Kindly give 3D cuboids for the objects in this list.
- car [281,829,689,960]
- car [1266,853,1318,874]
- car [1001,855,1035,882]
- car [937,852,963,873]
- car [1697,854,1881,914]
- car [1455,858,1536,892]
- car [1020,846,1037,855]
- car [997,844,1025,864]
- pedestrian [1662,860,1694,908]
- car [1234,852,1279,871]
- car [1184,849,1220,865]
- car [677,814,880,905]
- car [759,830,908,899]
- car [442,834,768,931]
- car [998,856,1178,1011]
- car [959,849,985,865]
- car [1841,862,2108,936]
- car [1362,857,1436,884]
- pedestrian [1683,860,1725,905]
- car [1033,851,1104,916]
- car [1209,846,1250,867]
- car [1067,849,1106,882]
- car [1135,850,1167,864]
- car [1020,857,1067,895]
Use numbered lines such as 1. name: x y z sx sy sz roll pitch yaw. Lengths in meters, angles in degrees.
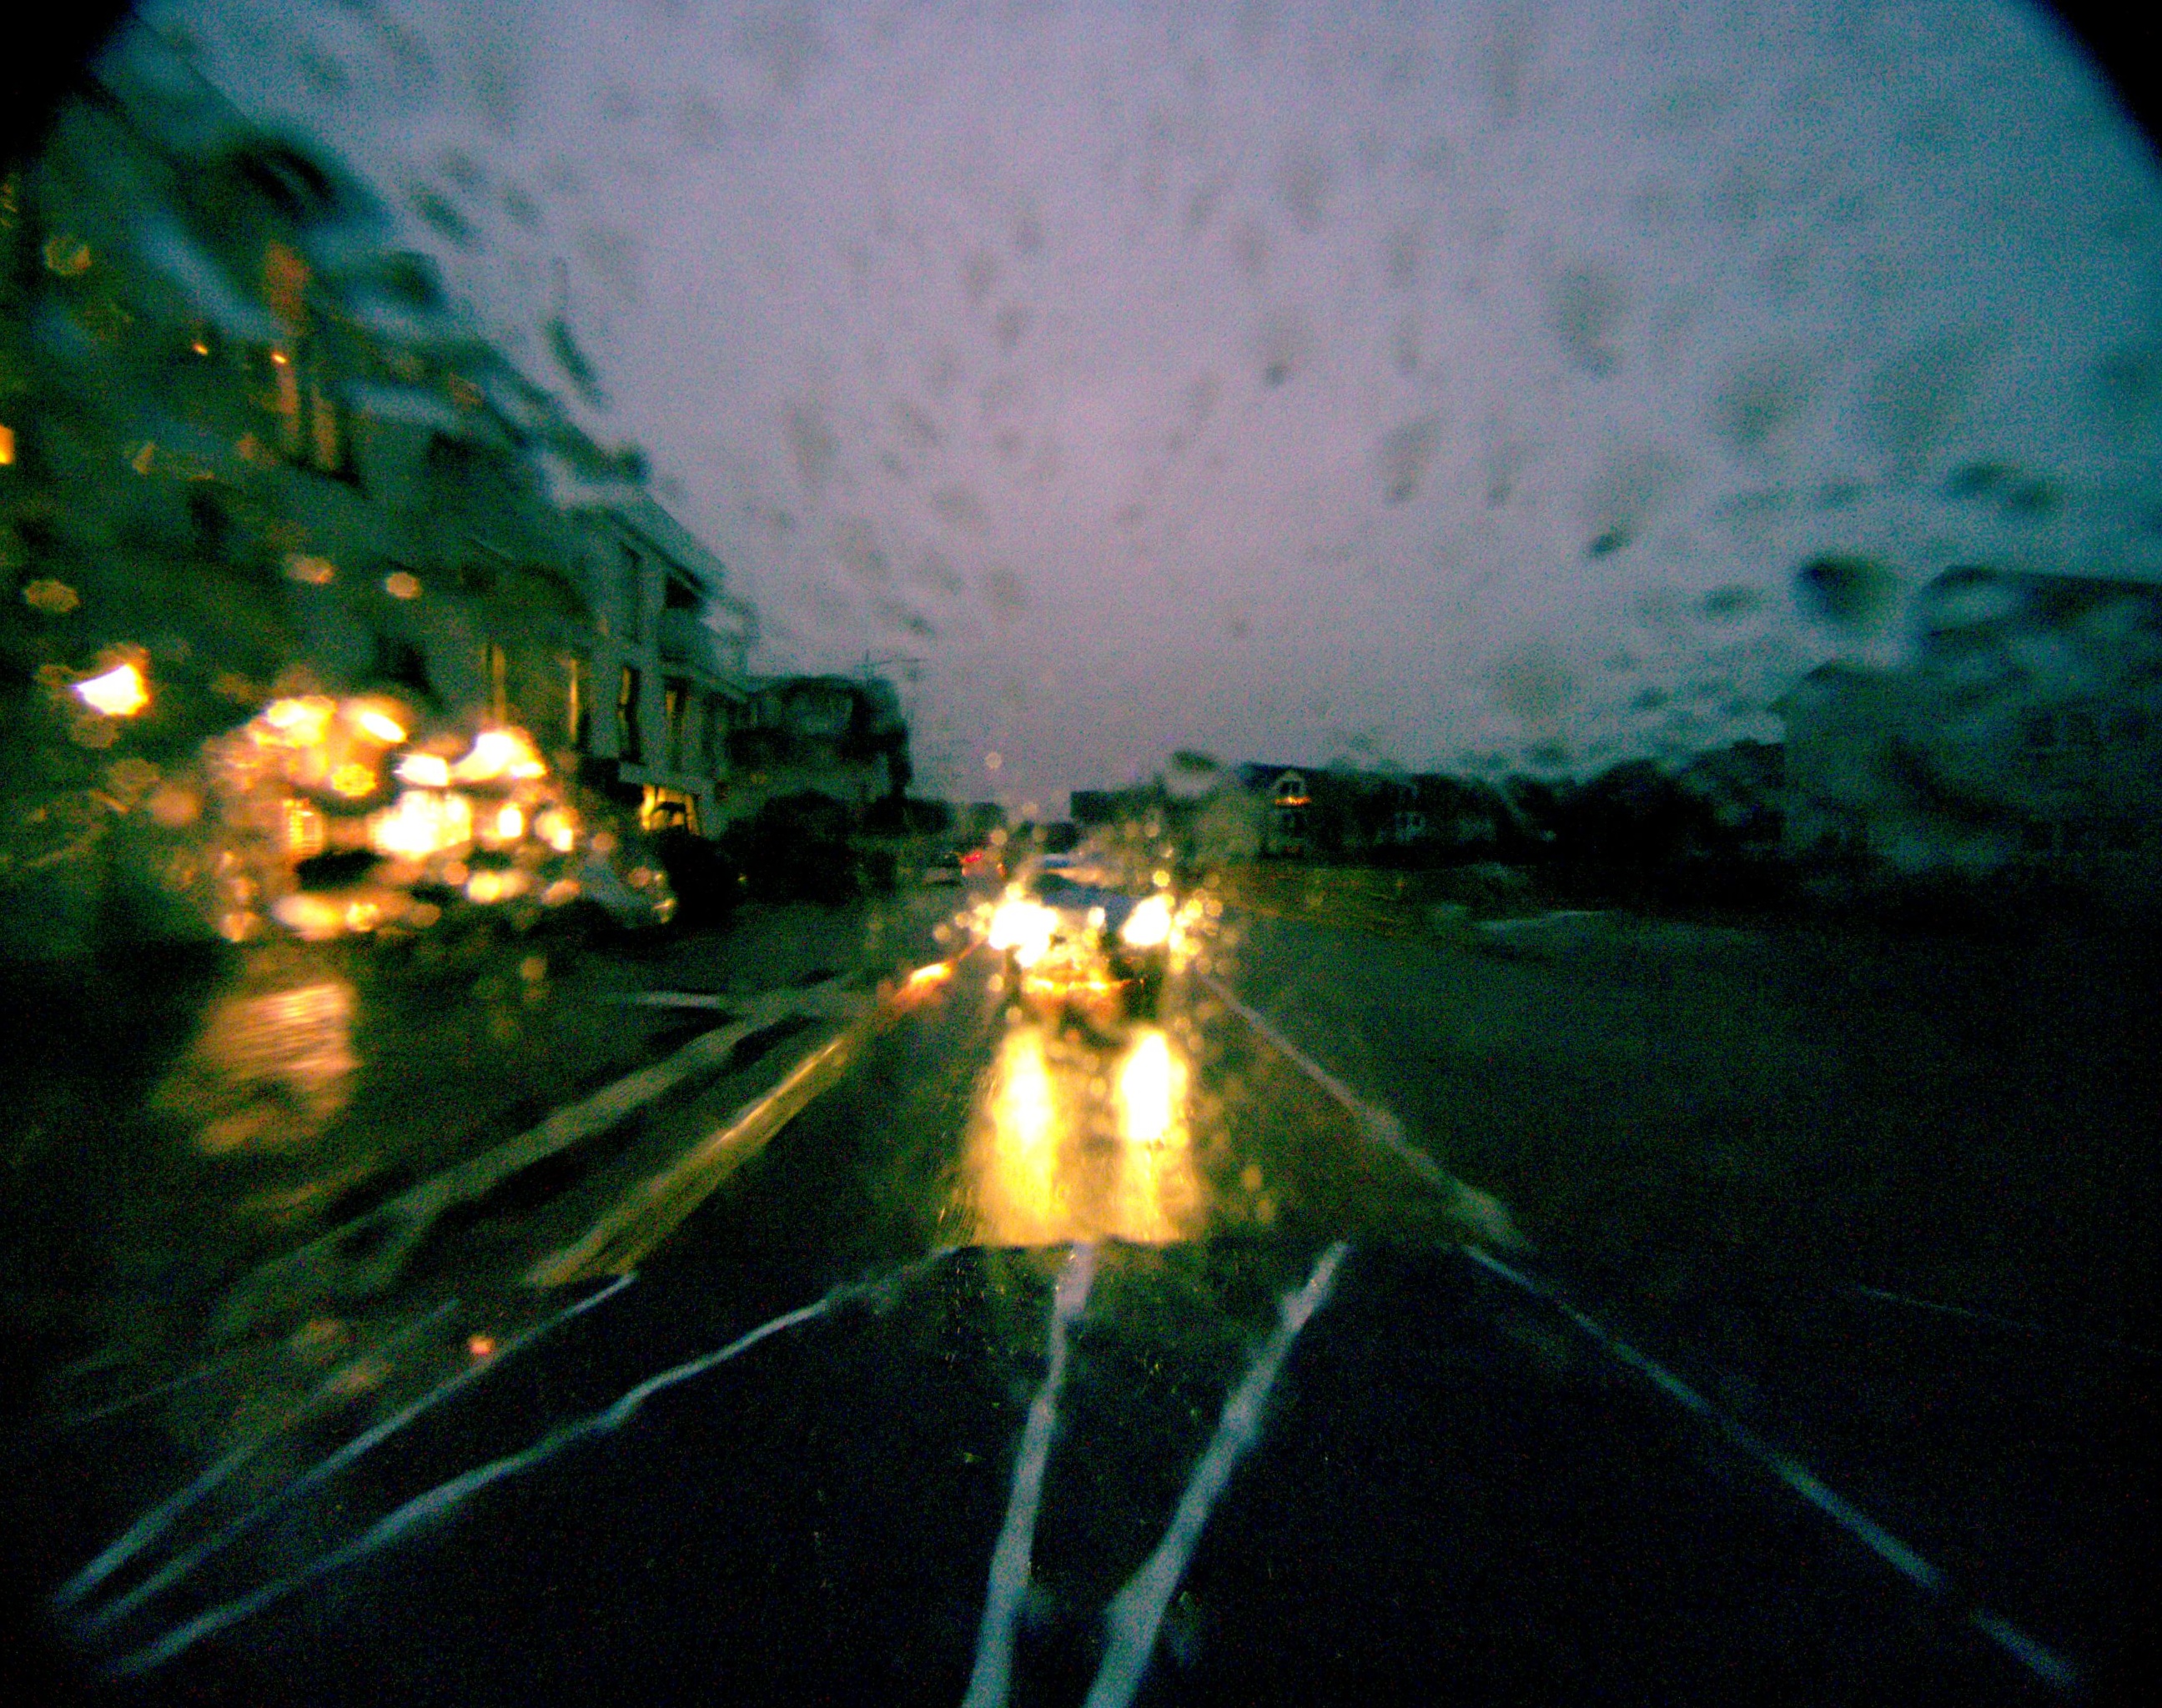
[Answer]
1. car: -7.868 0.525 10.470 4.002 1.495 1.811 3 2 -12
2. car: 15.702 0.660 56.760 1.801 1.460 4.251 0 1 -15
3. car: -3.689 0.799 44.149 1.742 1.434 3.997 -1 1 -8
4. car: -10.049 0.610 58.422 1.849 1.577 3.766 0 0 -9
5. car: 22.010 0.867 23.853 1.704 1.651 3.955 -1 1 -11
6. car: 19.953 0.967 36.720 1.479 1.500 3.499 0 1 -12
7. car: -8.971 -0.601 128.986 1.802 1.460 4.249 0 1 -20
8. car: -7.497 -0.020 81.307 2.002 2.002 3.992 -1 1 -21
9. pedestrian: 16.728 0.825 21.298 0.512 1.294 0.601 -1 1 -39
10. car: 14.253 0.570 61.986 1.801 1.460 4.251 0 1 -15
11. car: 11.460 0.293 72.152 1.678 1.460 4.010 2 0 -19
12. car: -7.987 0.159 20.482 4.553 1.922 1.974 5 0 -6
13. car: -7.781 0.344 24.276 4.153 1.625 1.753 8 -1 -11
14. car: -8.280 0.478 13.629 4.522 1.484 1.973 2 1 -6
15. car: -0.045 0.843 10.044 1.889 1.570 3.998 -1 0 -4
16. car: -11.611 0.298 80.729 1.786 1.612 3.950 0 0 -22
17. car: 22.527 1.051 19.435 1.780 1.560 4.090 -1 1 -8
18. car: 18.577 0.927 44.597 1.801 1.460 4.251 0 1 -15
19. pedestrian: 17.579 0.801 21.456 0.693 1.242 0.602 0 1 -6
20. car: -0.442 0.756 21.041 1.682 1.614 3.998 0 0 -5
21. car: 12.943 0.201 66.630 1.801 1.816 4.251 0 1 -15
22. car: 0.262 0.644 44.489 1.724 1.802 4.133 -1 1 -8
23. car: 7.661 0.324 83.660 1.802 1.460 4.608 0 1 -19
24. car: -1.613 0.868 31.878 1.573 1.460 3.613 -1 0 -9
